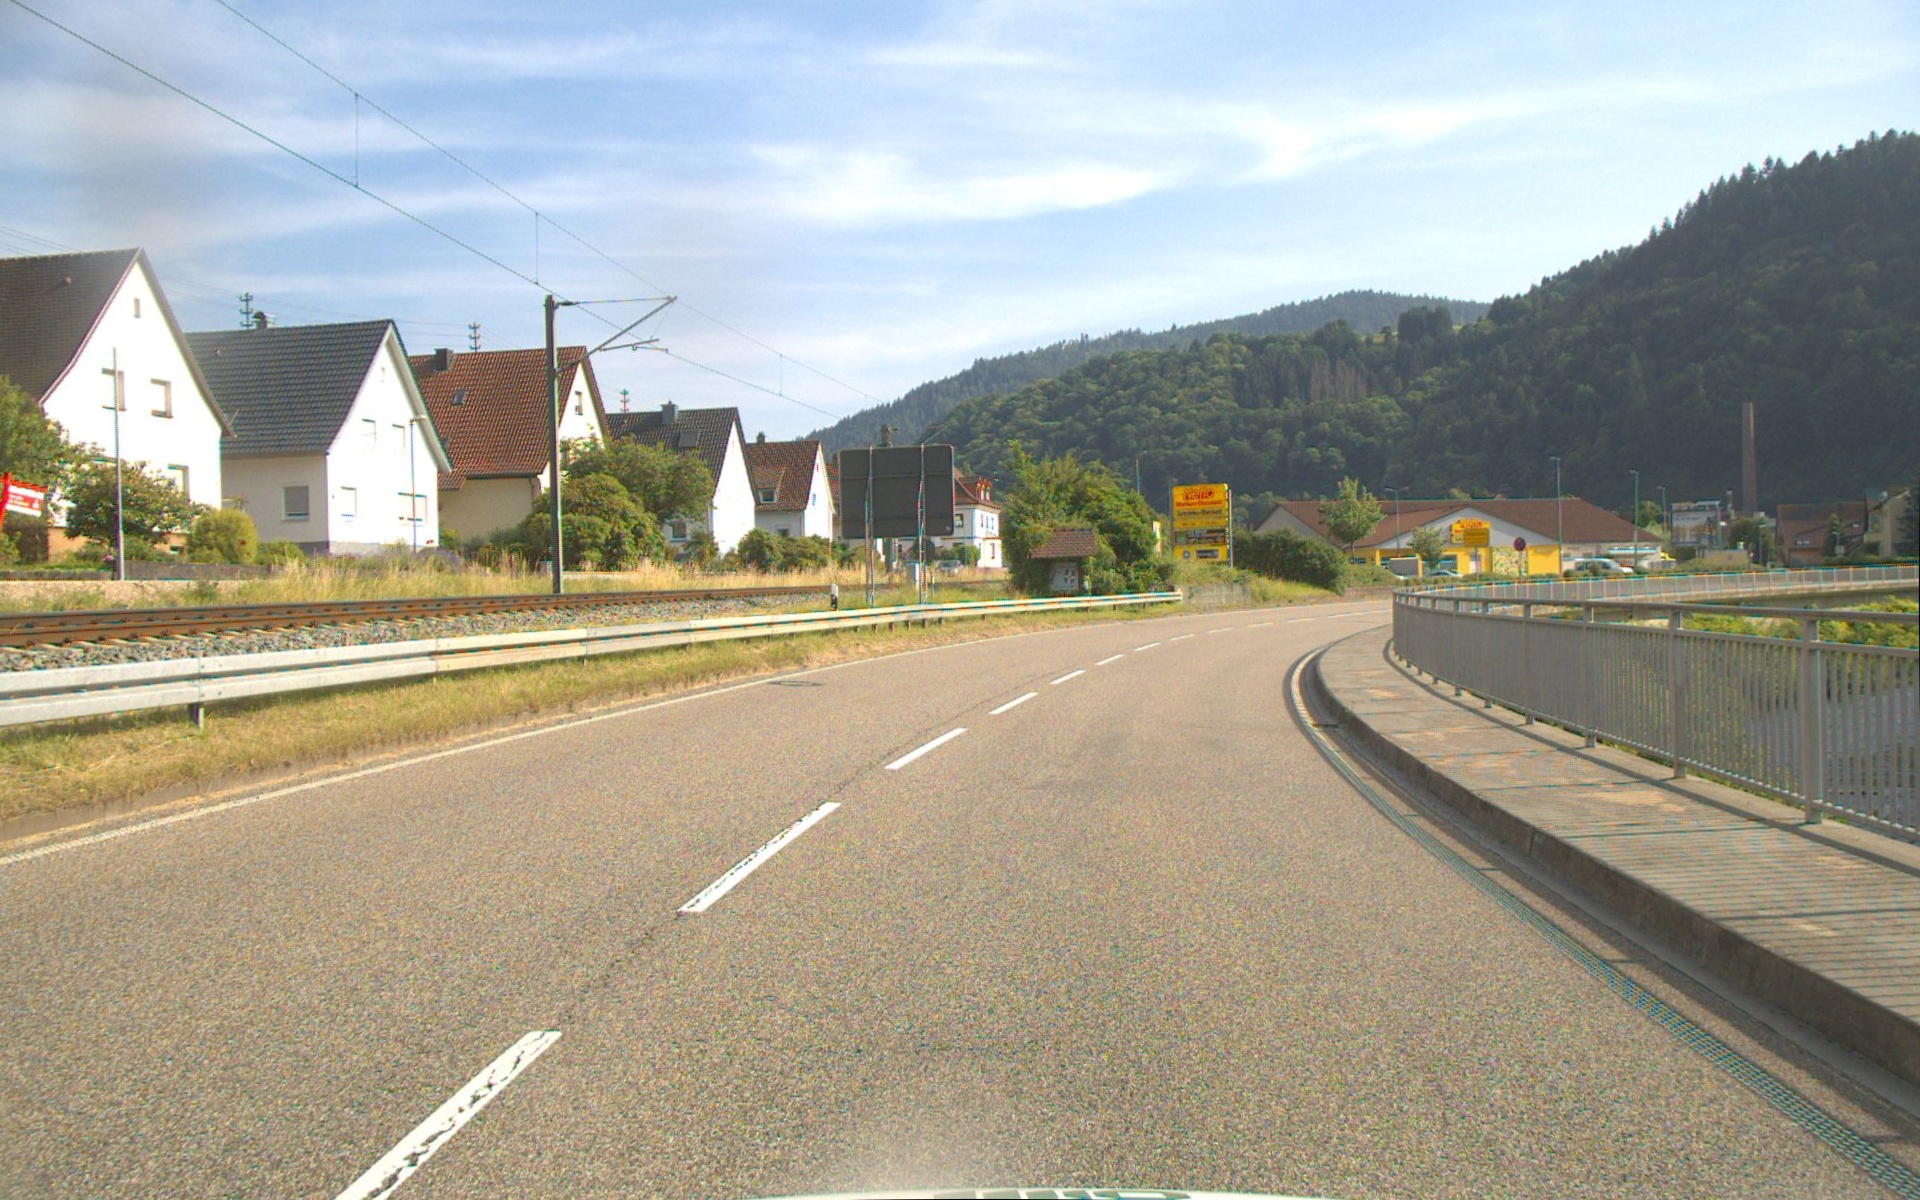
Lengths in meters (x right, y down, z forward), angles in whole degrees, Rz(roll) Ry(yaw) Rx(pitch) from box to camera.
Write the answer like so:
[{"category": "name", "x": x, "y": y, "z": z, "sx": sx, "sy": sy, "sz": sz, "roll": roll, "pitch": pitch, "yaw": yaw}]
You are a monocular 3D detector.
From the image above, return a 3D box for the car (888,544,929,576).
[{"category": "car", "x": -3.490, "y": -2.697, "z": 112.730, "sx": 1.952, "sy": 1.913, "sz": 4.003, "roll": 6, "pitch": 1, "yaw": 8}]

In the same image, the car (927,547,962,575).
[{"category": "car", "x": -1.183, "y": -2.951, "z": 126.256, "sx": 1.952, "sy": 1.913, "sz": 4.003, "roll": 6, "pitch": 1, "yaw": 8}]

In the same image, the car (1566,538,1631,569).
[{"category": "car", "x": 46.881, "y": -3.389, "z": 121.485, "sx": 3.933, "sy": 2.049, "sz": 1.986, "roll": 1, "pitch": -3, "yaw": 44}]
